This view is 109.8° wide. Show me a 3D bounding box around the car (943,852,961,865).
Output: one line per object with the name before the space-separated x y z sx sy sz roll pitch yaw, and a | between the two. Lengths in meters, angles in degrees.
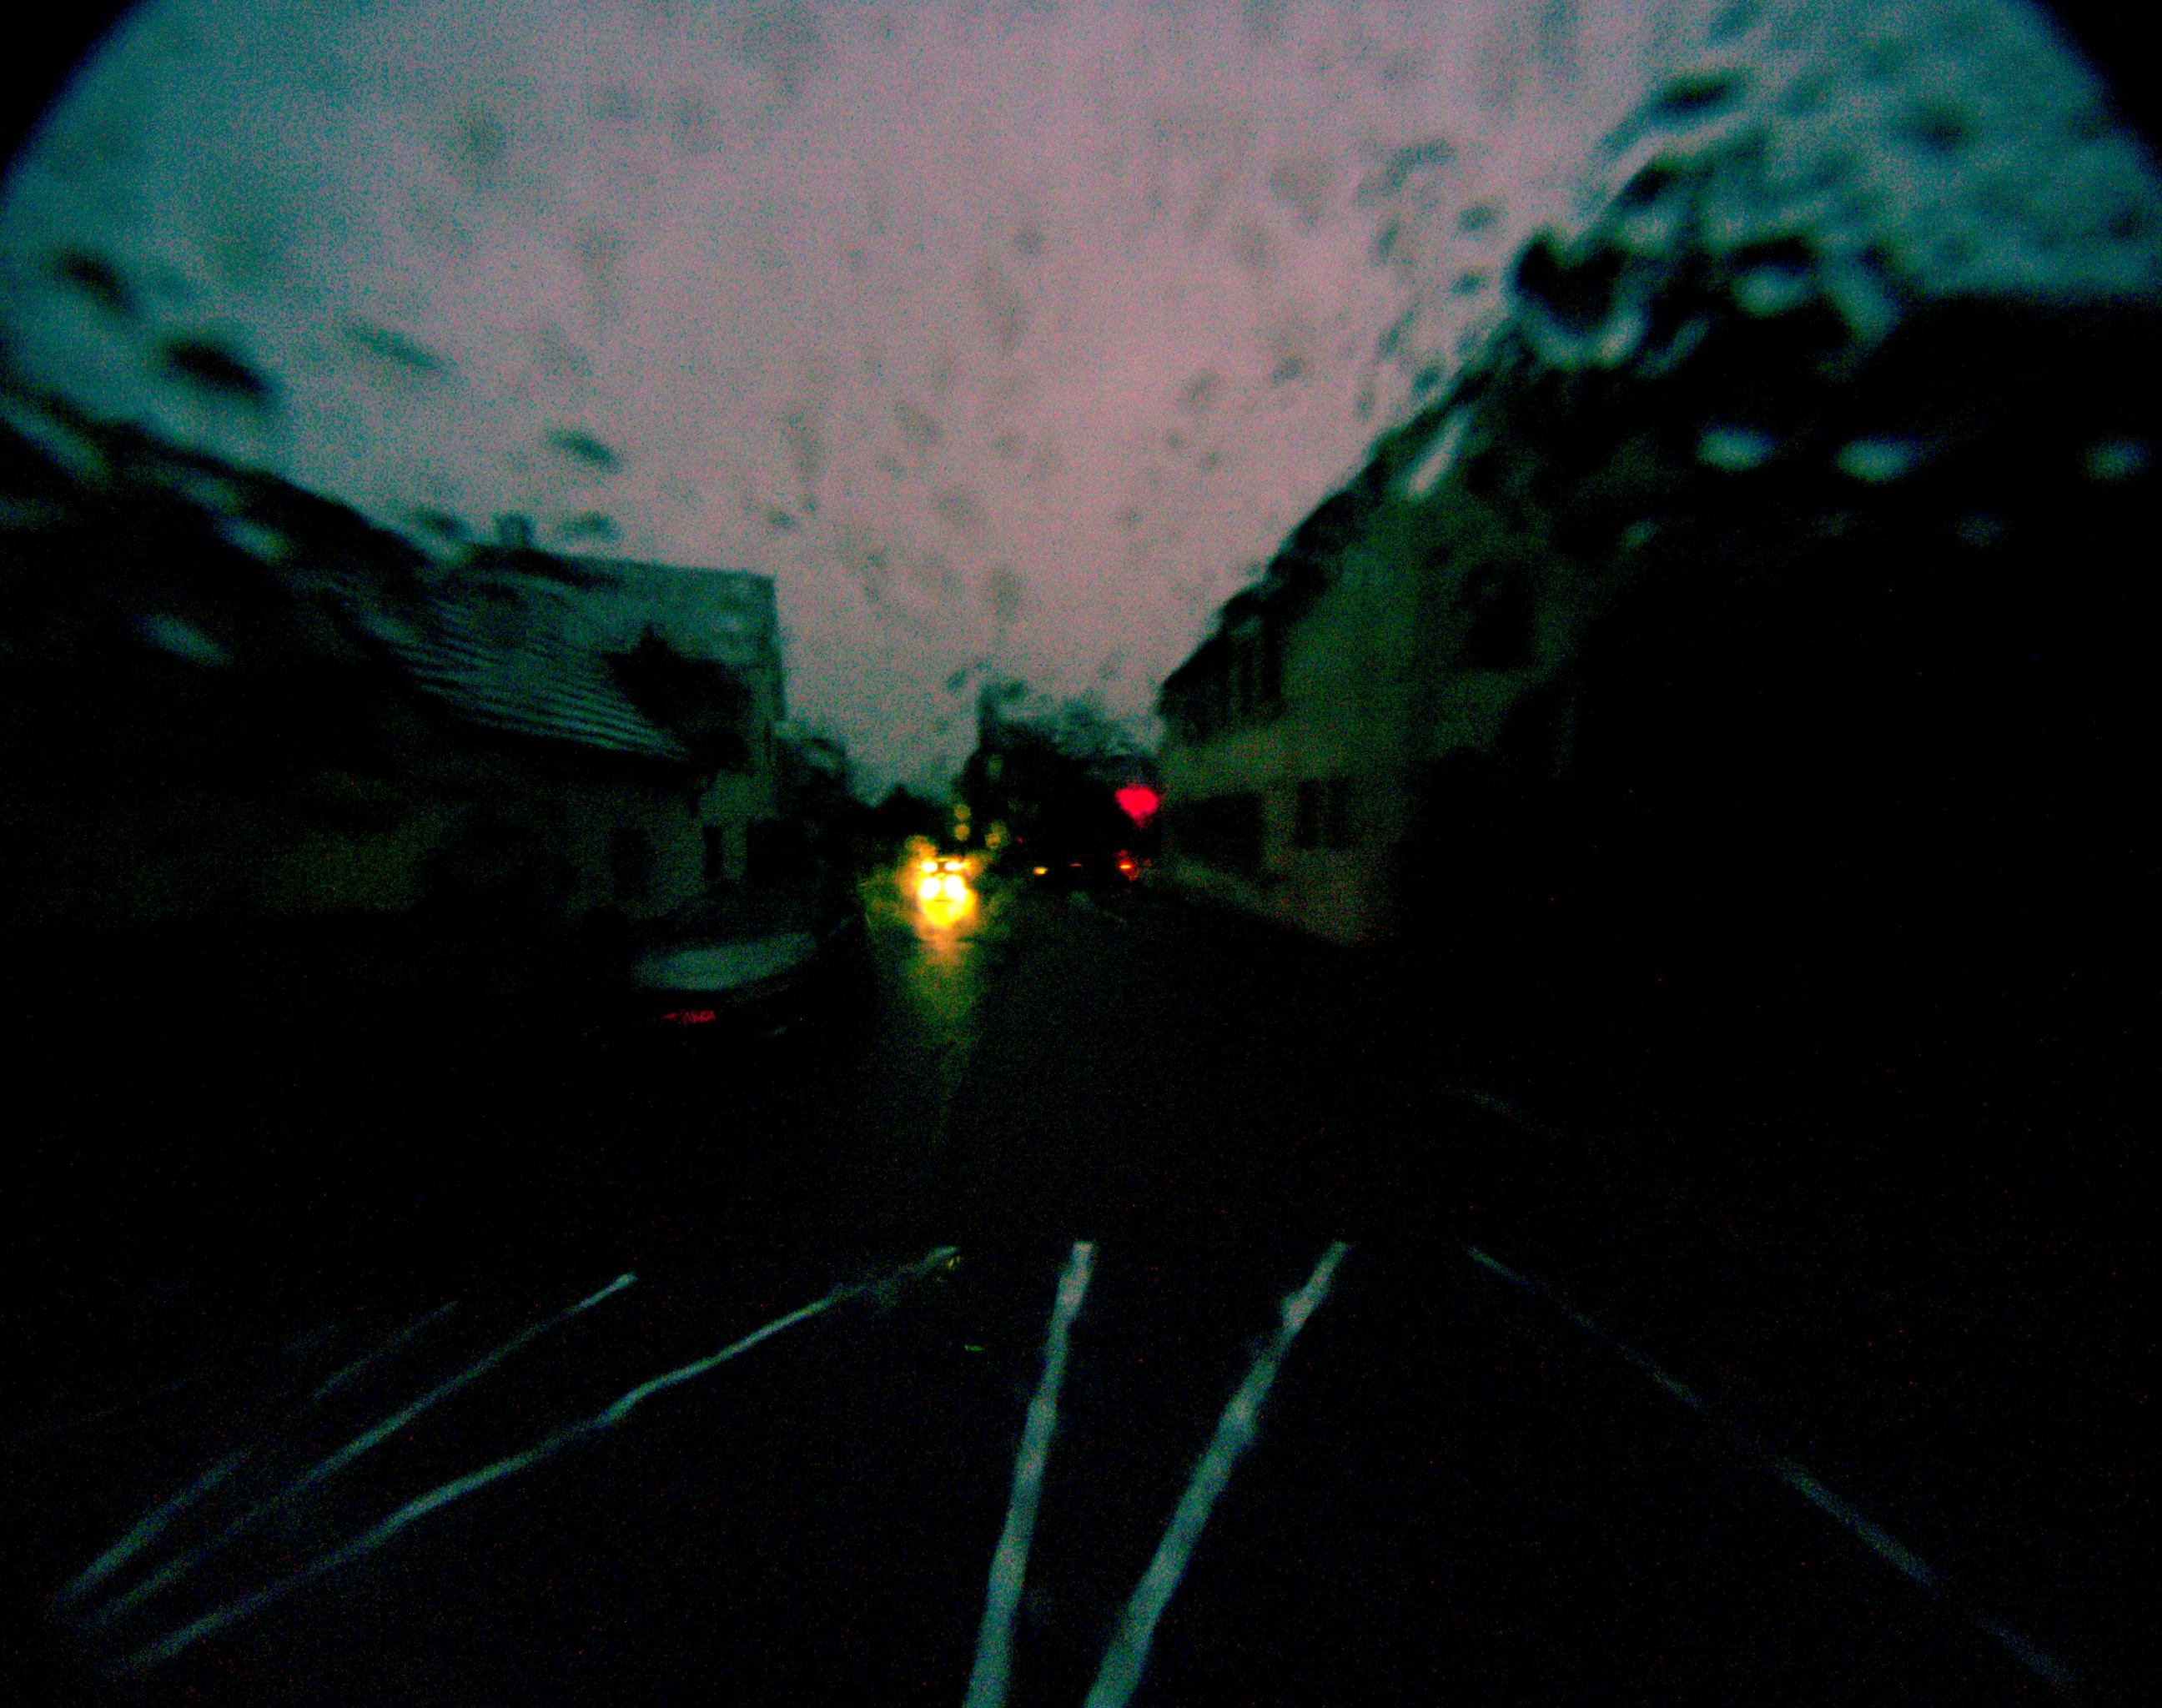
car | -16.076 0.520 94.917 1.765 1.489 3.997 -3 1 -5

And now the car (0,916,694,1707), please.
car | -2.828 1.109 1.772 1.731 1.423 4.795 -2 1 -5

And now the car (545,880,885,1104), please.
car | -3.375 1.126 8.129 1.795 1.431 4.619 -2 1 -6

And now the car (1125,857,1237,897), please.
car | 3.908 0.876 30.304 2.003 1.417 4.226 -3 1 -38

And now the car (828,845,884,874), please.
car | -17.224 0.412 58.235 4.002 2.002 1.997 -2 1 -17

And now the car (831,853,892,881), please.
car | -15.333 0.899 53.138 4.002 1.783 1.997 -2 1 -17

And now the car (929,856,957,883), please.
car | -11.310 1.217 62.045 2.001 2.002 3.995 -2 1 -13

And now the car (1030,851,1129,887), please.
car | -0.101 0.695 37.812 4.483 1.570 1.997 -2 1 -14

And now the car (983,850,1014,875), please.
car | -5.986 0.591 54.867 2.000 1.619 3.996 -2 1 -9
